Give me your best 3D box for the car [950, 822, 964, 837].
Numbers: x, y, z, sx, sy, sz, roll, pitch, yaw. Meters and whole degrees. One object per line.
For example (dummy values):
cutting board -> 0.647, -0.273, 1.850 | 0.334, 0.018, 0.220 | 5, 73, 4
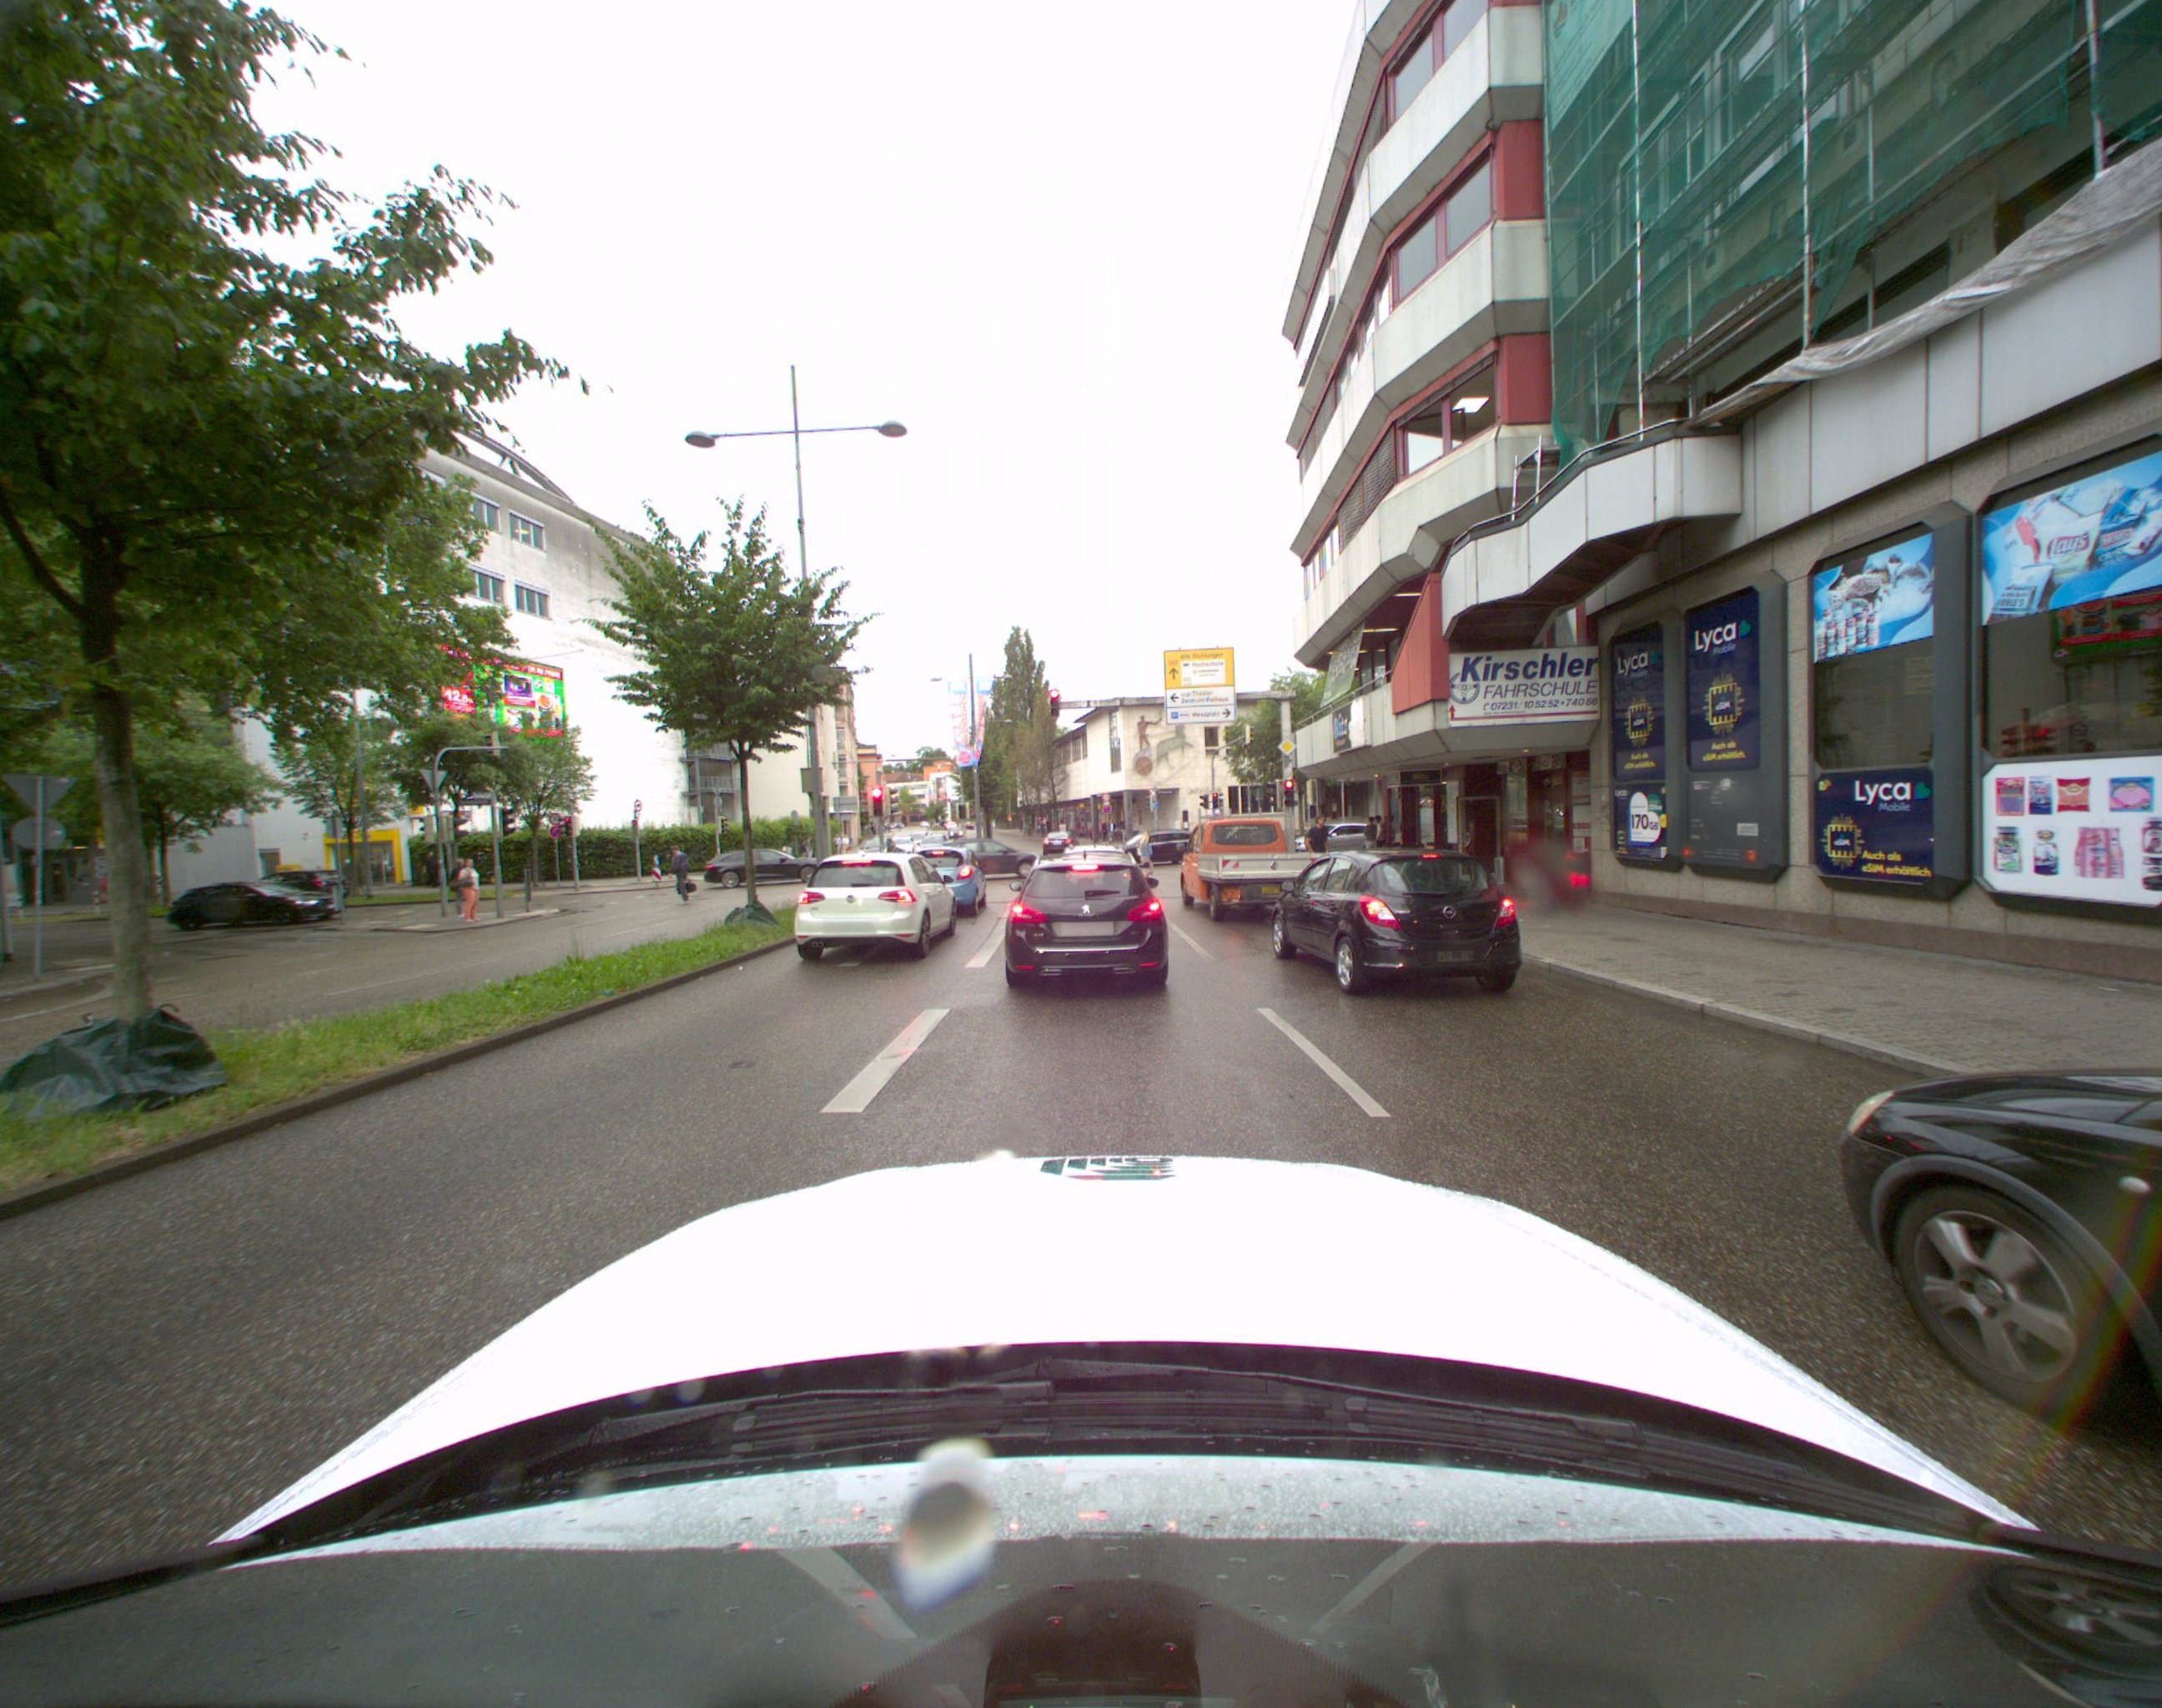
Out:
car -> -15.231, -2.978, 100.184 | 1.744, 1.640, 3.988 | 0, -1, -9

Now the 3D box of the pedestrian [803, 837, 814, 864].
pedestrian -> -17.781, -0.211, 53.072 | 0.538, 1.748, 0.564 | -1, -1, -3

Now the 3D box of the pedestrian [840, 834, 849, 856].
pedestrian -> -18.933, -0.718, 65.128 | 0.595, 1.728, 0.655 | 0, -1, -7

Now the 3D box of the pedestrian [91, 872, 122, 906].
pedestrian -> -48.476, 1.725, 40.529 | 0.633, 1.643, 0.735 | -1, -1, 8

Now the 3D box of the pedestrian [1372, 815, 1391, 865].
pedestrian -> 10.092, -0.469, 27.374 | 0.395, 1.640, 0.504 | -3, -1, 2

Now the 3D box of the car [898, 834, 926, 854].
car -> -12.839, -0.770, 62.017 | 1.630, 1.486, 3.604 | -1, 1, -4

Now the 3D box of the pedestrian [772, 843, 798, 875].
pedestrian -> -15.084, 0.266, 41.514 | 1.059, 1.578, 0.683 | -1, -1, -3

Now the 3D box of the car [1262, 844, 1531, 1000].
car -> 3.397, 0.613, 9.569 | 1.611, 1.429, 3.840 | -1, 1, -1

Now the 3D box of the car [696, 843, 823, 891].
car -> -12.761, 0.477, 32.611 | 4.505, 1.454, 1.782 | -5, 3, -18

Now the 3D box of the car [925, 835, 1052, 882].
car -> -3.427, 0.133, 30.267 | 4.488, 1.454, 1.789 | -2, 2, -8

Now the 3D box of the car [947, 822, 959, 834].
car -> -23.235, -4.688, 147.812 | 1.709, 1.882, 3.979 | 0, -1, -15

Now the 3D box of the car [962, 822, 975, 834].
car -> -20.511, -4.710, 148.538 | 1.709, 1.936, 3.979 | 0, -1, -15

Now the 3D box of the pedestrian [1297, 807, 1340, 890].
pedestrian -> 5.467, -0.122, 18.773 | 0.736, 1.816, 0.776 | -6, -1, 13

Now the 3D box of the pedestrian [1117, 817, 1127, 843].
pedestrian -> 3.152, -1.840, 62.315 | 0.633, 1.897, 0.735 | -1, -1, 8

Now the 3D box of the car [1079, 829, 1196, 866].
car -> 2.403, -0.297, 34.686 | 4.729, 1.486, 1.630 | -1, 1, -14

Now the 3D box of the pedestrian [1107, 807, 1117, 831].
pedestrian -> 2.354, -2.649, 61.712 | 0.633, 1.758, 0.735 | -1, -1, 8

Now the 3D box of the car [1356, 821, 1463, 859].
car -> 13.623, -0.581, 33.841 | 3.996, 1.486, 1.614 | 0, -1, -17

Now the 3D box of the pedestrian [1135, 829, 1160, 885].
pedestrian -> 2.027, 0.099, 24.956 | 0.745, 1.680, 0.710 | -1, -1, 4

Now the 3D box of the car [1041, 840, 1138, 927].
car -> 0.200, 0.481, 16.247 | 1.690, 1.486, 3.795 | -1, 1, 1

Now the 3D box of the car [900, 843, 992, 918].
car -> -2.976, 0.519, 18.565 | 1.629, 1.486, 3.606 | -1, 1, -3

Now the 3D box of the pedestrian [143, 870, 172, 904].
pedestrian -> -45.601, 1.608, 40.209 | 0.727, 1.643, 0.640 | -1, -1, 7

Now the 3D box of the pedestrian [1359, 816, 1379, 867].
pedestrian -> 9.562, -0.412, 27.045 | 0.424, 1.682, 0.450 | -3, -1, 0

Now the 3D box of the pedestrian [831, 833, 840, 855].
pedestrian -> -19.528, -0.764, 64.761 | 0.595, 1.728, 0.655 | 0, -1, -7

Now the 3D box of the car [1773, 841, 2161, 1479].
car -> 3.200, 0.704, 1.097 | 1.600, 1.429, 3.626 | -1, 1, 3

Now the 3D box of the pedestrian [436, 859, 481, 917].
pedestrian -> -18.610, 1.011, 24.343 | 0.750, 1.661, 0.628 | -2, 2, 1

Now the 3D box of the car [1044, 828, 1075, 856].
car -> -1.314, -0.663, 48.739 | 1.720, 1.490, 4.729 | -1, -1, -2

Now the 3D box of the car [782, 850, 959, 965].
car -> -3.030, 0.687, 12.538 | 1.773, 1.429, 3.840 | -1, 1, -1

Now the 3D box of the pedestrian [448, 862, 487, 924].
pedestrian -> -17.000, 1.070, 22.577 | 0.555, 1.661, 0.580 | -2, 2, 1

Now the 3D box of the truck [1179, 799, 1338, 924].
truck -> 3.424, 0.064, 16.811 | 2.170, 2.172, 5.020 | -1, 1, 0

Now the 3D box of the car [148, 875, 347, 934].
car -> -26.890, 1.585, 26.414 | 4.226, 1.565, 1.699 | -3, 1, -9

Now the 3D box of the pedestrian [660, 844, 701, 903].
pedestrian -> -12.248, 0.600, 24.936 | 0.921, 1.784, 0.708 | -1, -1, -4

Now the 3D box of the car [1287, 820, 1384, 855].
car -> 11.530, -0.740, 36.952 | 3.896, 1.486, 1.617 | 0, -1, -11

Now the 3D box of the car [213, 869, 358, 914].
car -> -34.068, 1.568, 34.996 | 4.050, 1.454, 1.788 | -4, 3, -9

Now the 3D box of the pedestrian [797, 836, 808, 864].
pedestrian -> -17.572, -0.265, 51.413 | 0.538, 1.748, 0.745 | 0, -1, -7

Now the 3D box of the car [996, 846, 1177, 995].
car -> 0.056, 0.639, 9.992 | 1.772, 1.429, 3.841 | -1, 1, 0

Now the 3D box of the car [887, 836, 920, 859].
car -> -12.101, -0.495, 55.667 | 1.630, 1.486, 3.604 | -1, 1, -4

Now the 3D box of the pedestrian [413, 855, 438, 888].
pedestrian -> -33.264, 0.873, 41.322 | 0.730, 1.643, 0.638 | 0, -1, -6

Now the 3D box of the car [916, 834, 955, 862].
car -> -8.755, -0.306, 49.237 | 1.739, 1.579, 3.997 | -1, -1, -1

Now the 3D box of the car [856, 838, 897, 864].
car -> -12.035, -0.208, 48.183 | 1.569, 1.486, 3.608 | -1, 1, -1
